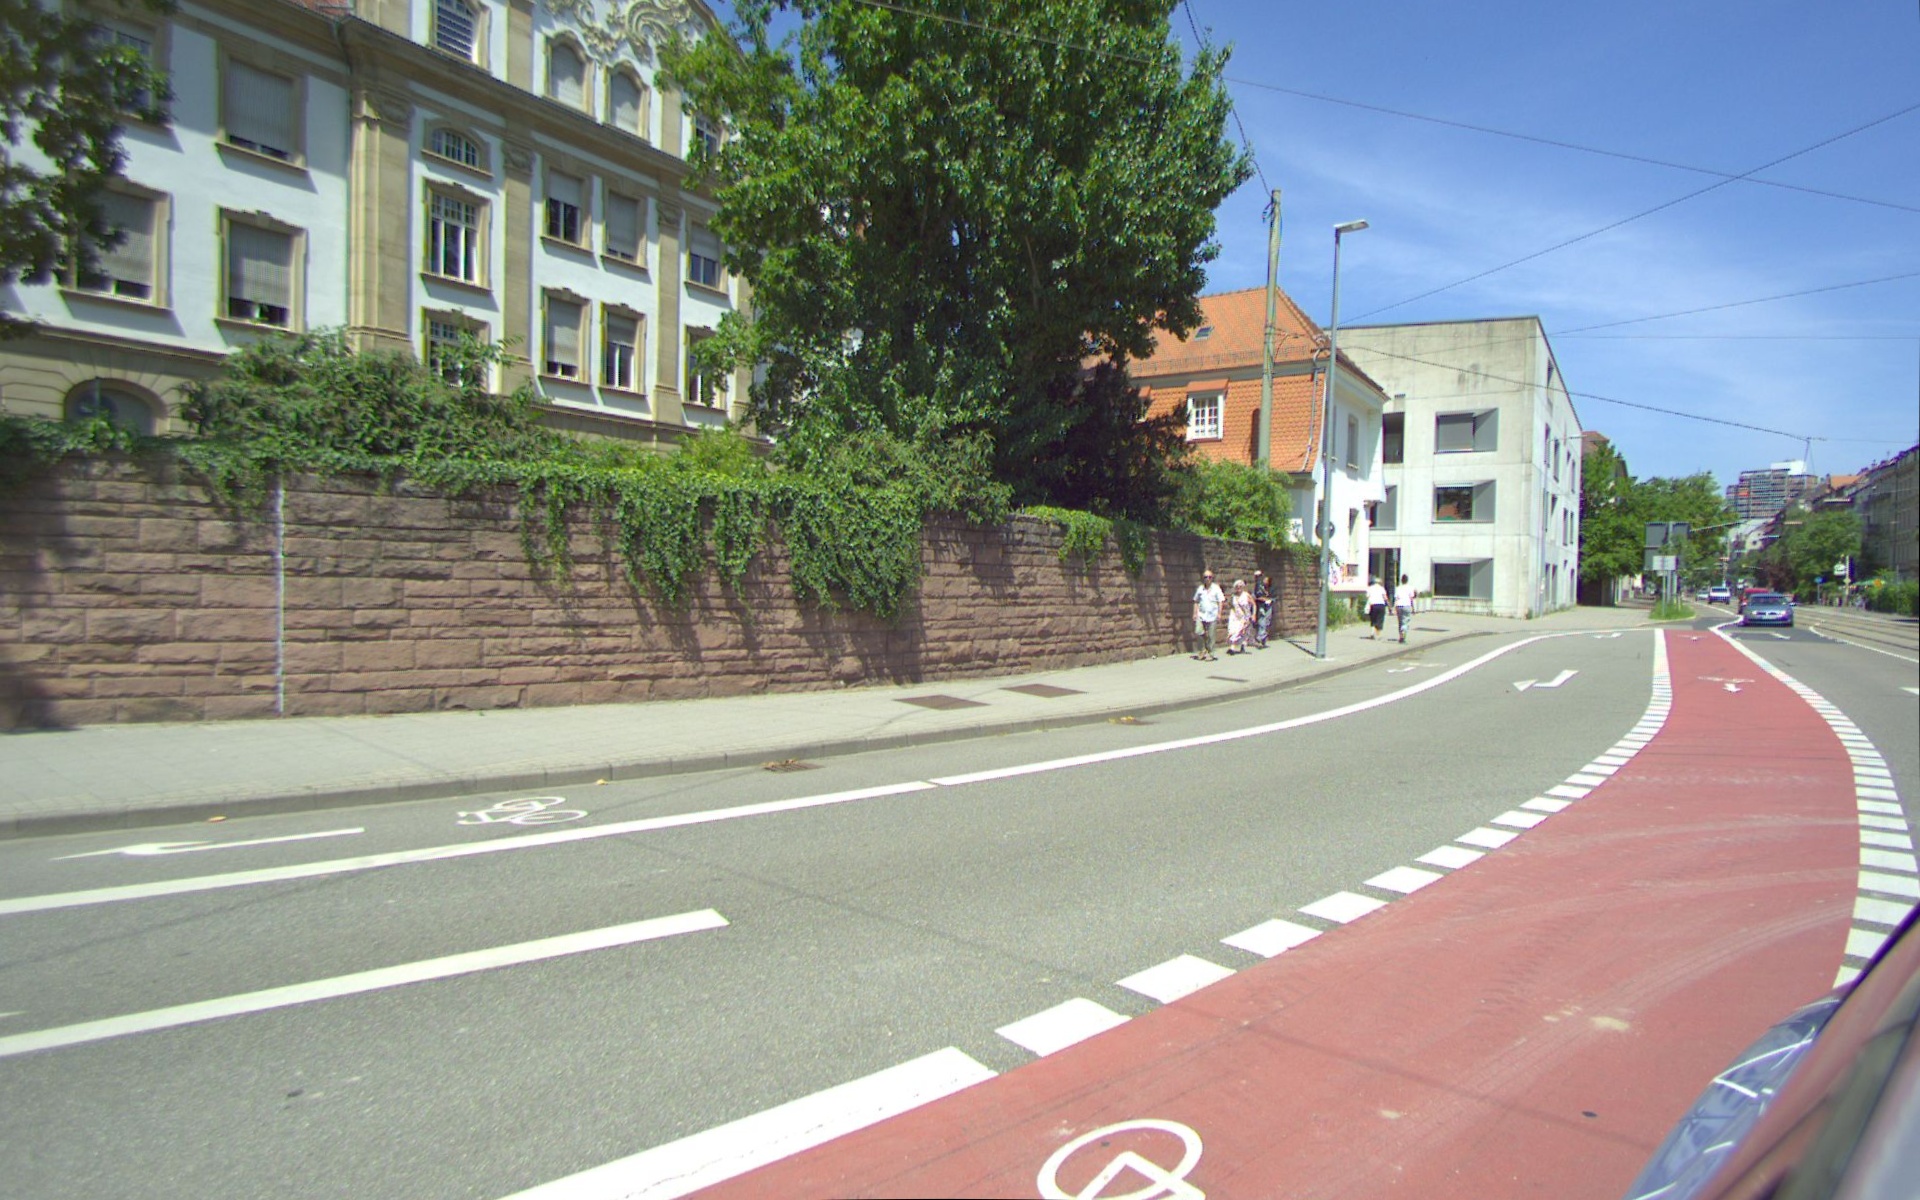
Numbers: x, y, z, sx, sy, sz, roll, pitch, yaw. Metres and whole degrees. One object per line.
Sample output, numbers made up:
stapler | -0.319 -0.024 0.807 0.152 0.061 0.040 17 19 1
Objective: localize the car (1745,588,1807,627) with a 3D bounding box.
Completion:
car | 36.591 0.286 45.452 1.883 1.589 3.987 2 2 35

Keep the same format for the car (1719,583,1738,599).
car | 86.801 -1.056 114.313 1.611 1.730 3.385 2 2 36

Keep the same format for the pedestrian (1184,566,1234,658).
pedestrian | 4.623 0.208 18.796 0.660 1.667 0.615 2 2 41

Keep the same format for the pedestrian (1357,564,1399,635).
pedestrian | 11.079 -0.019 26.794 0.813 1.830 0.690 2 2 40

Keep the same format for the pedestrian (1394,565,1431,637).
pedestrian | 11.741 0.013 26.258 0.676 1.830 0.737 2 2 40

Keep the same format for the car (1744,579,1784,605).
car | 54.923 -0.559 69.187 1.864 1.668 3.733 2 2 35

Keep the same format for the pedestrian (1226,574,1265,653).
pedestrian | 5.739 0.258 20.335 0.515 1.552 0.589 2 2 41

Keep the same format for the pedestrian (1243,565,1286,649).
pedestrian | 6.659 0.147 22.129 0.713 1.795 0.621 1 0 34

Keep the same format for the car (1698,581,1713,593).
car | 114.102 -1.997 154.889 1.874 1.705 3.324 2 2 37
